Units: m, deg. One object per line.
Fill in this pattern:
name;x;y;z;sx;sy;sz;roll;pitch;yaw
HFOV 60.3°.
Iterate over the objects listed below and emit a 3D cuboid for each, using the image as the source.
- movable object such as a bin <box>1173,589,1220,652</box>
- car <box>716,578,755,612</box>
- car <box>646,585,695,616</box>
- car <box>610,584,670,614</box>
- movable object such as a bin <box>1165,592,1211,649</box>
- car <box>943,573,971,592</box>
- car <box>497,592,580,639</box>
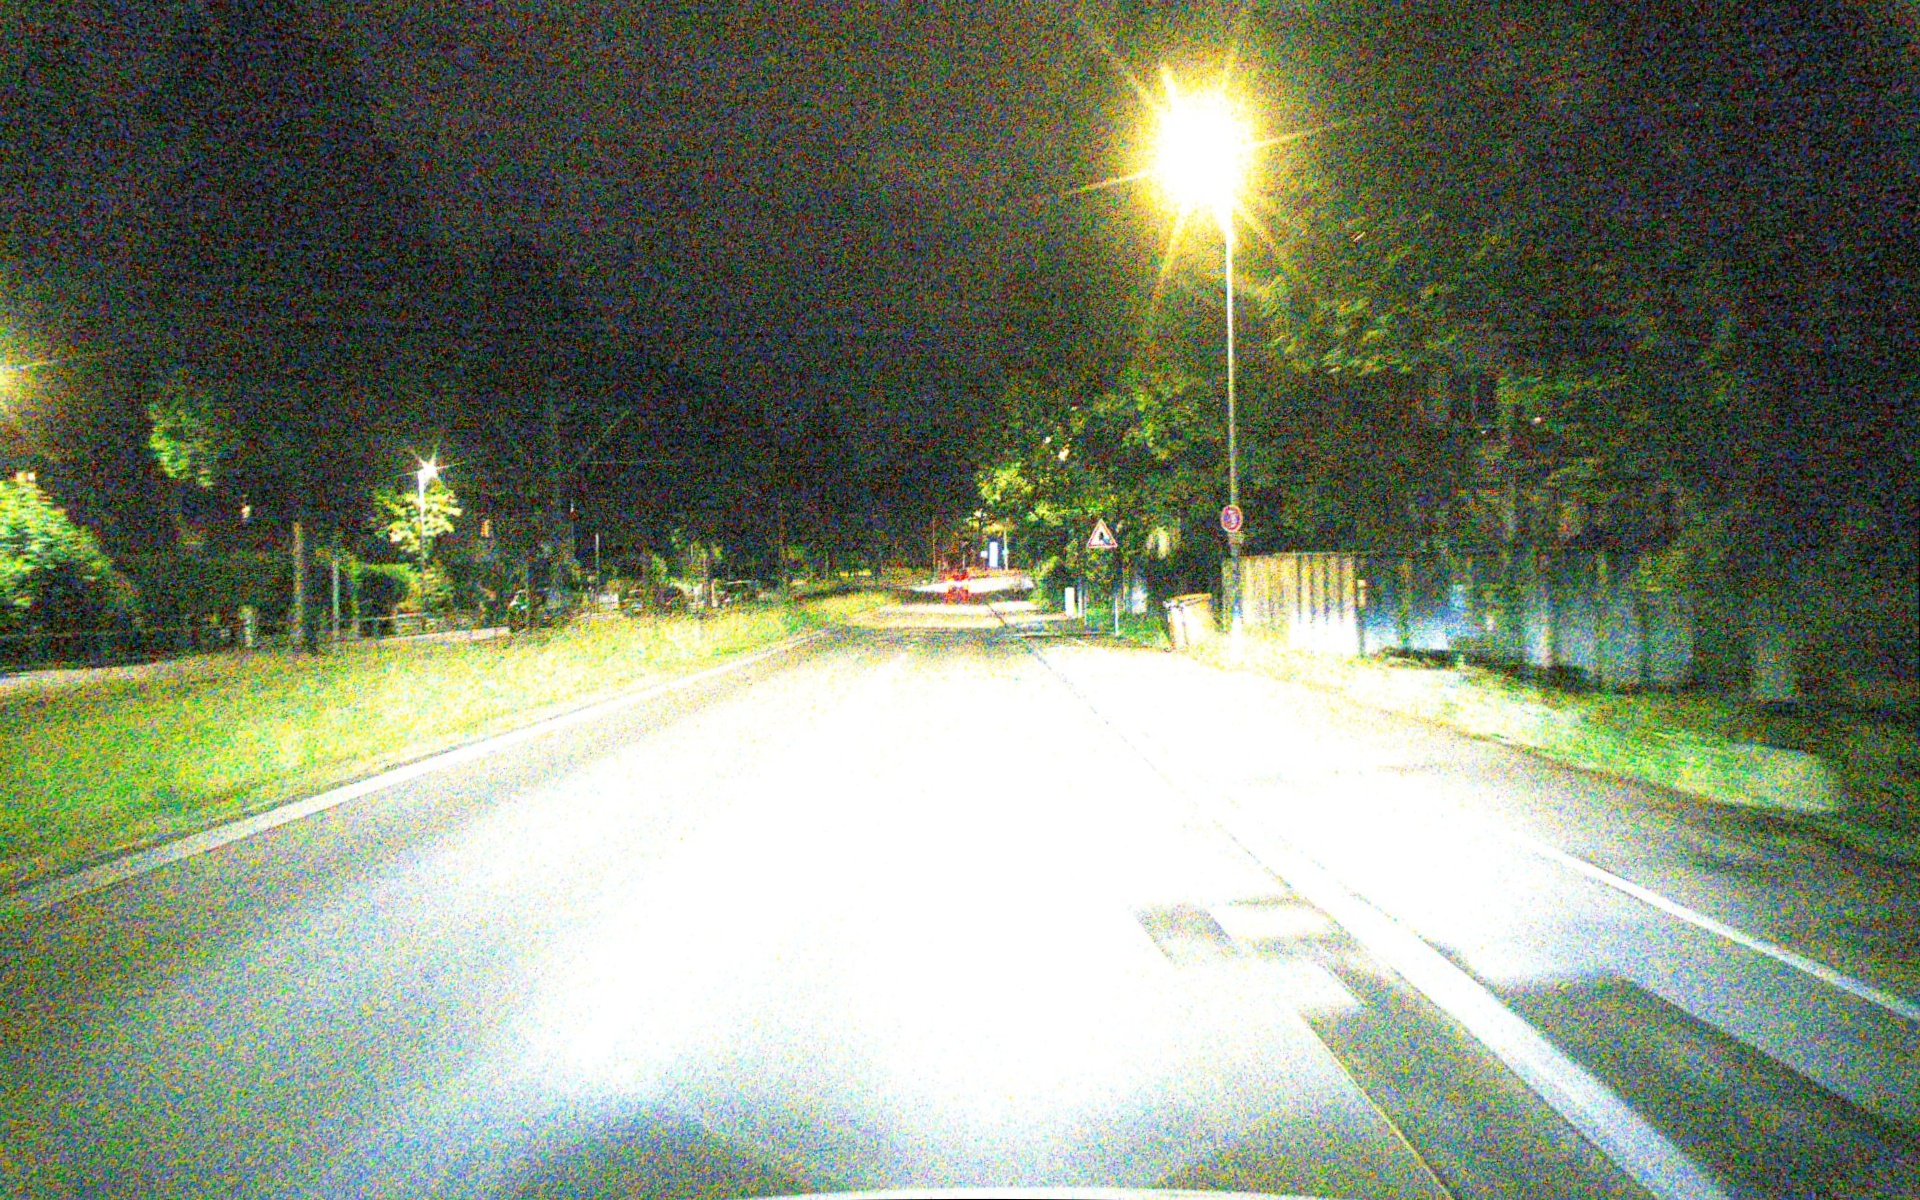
movable object such as a bin;4.643;0.399;32.495;0.816;1.202;0.829;-1;0;2
car;-15.250;-0.356;112.523;2.050;2.048;4.000;-5;1;-1
car;-15.328;0.004;87.755;1.953;1.556;4.000;-1;1;-1
car;-15.775;-0.063;81.807;1.953;1.361;5.431;-1;0;-1
movable object such as a bin;4.597;0.407;33.371;0.839;1.139;0.840;-1;0;2
car;-0.295;-1.531;143.942;2.119;1.610;4.009;0;0;-5
car;-15.812;0.544;62.261;1.953;1.656;4.676;-1;0;-1
